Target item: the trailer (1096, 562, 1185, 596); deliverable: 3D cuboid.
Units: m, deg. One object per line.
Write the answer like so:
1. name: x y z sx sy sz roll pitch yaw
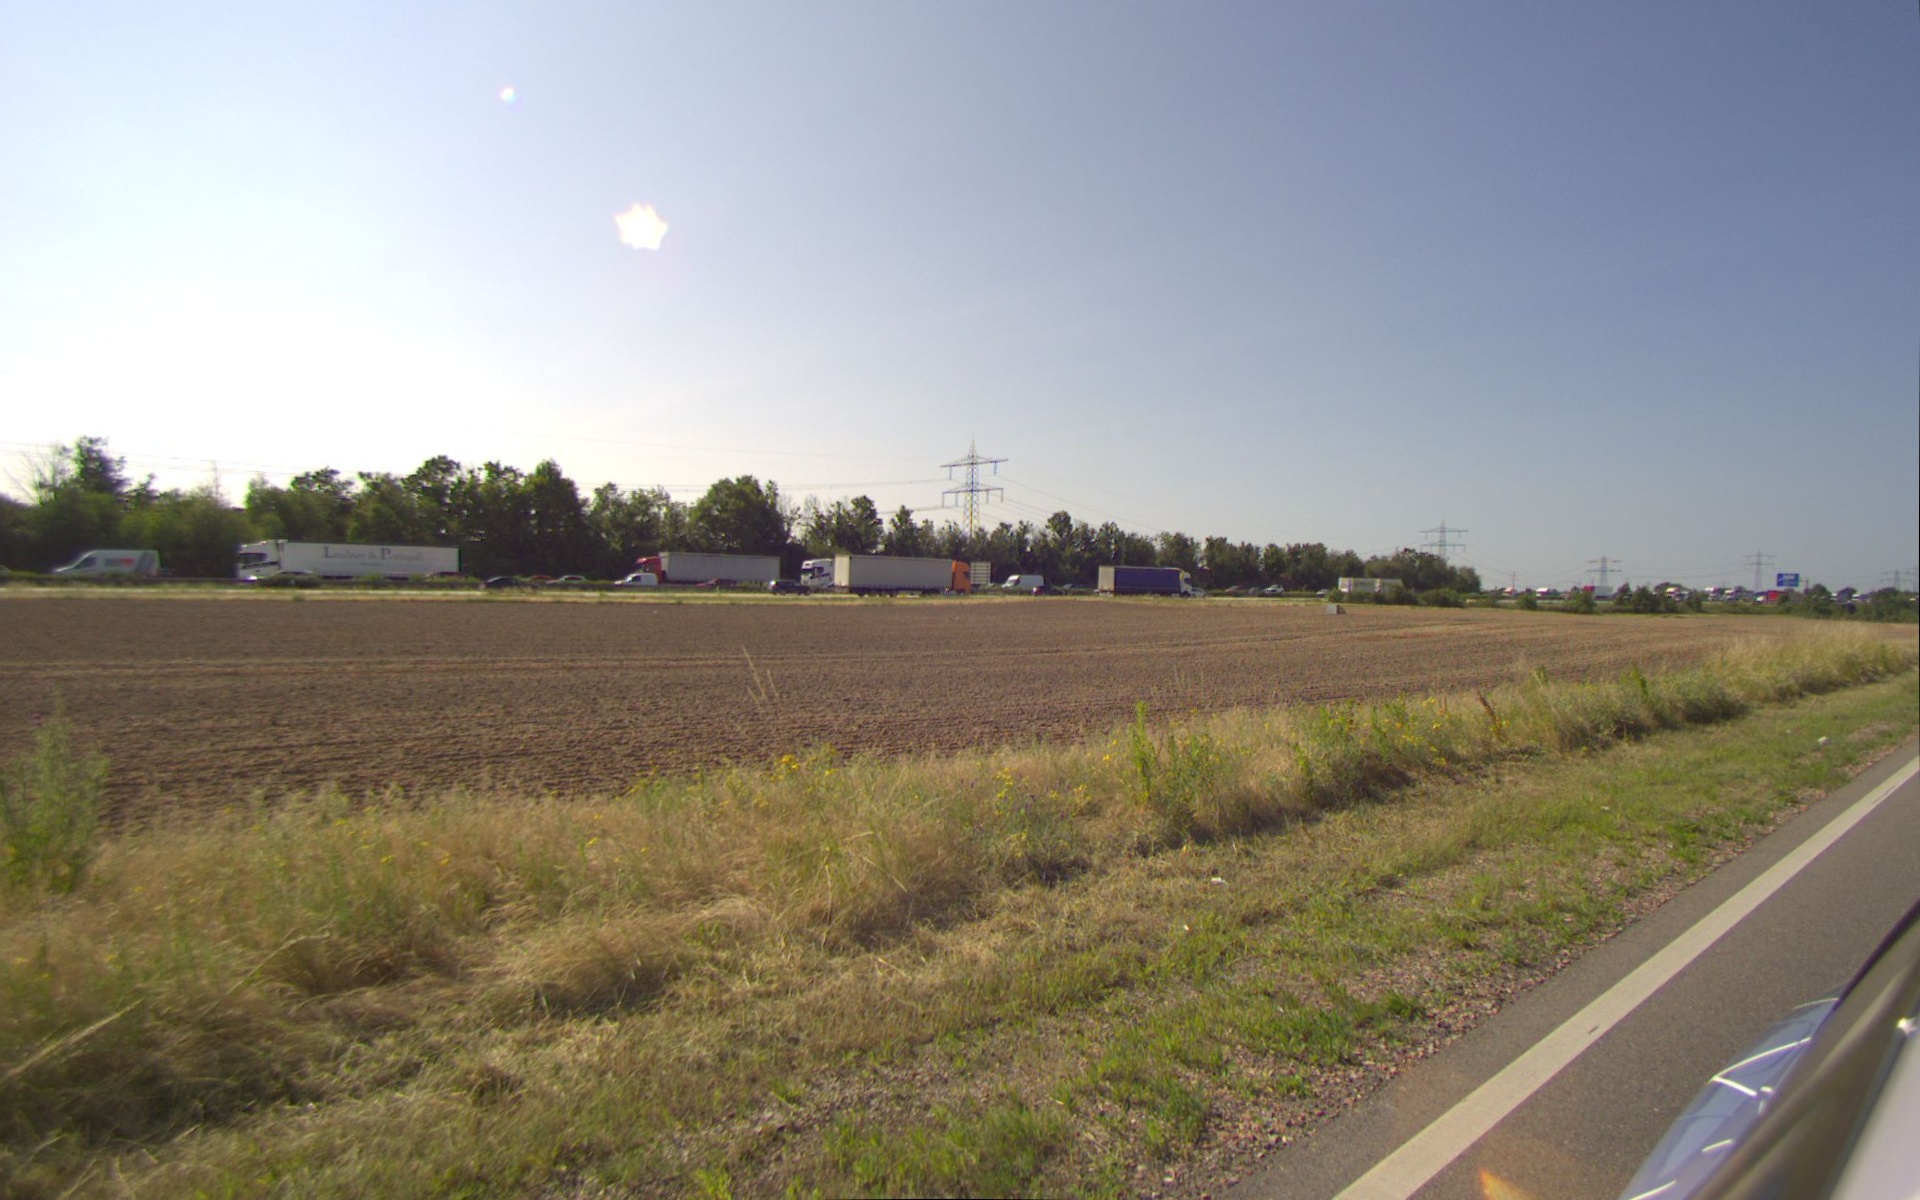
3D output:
1. trailer: 23.164 -2.560 129.109 14.341 3.850 3.076 1 0 -42

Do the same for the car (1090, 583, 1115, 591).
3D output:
1. car: 19.960 -1.787 142.027 3.794 1.139 1.343 0 0 -41

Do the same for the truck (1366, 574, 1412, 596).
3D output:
1. truck: 73.115 -2.508 172.440 10.927 3.521 2.810 0 1 -41

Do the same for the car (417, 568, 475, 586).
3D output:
1. car: -44.692 -1.953 88.020 4.173 1.403 1.853 1 -1 -41

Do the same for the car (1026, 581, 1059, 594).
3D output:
1. car: 10.123 -1.500 123.817 3.825 1.595 1.997 0 -1 -40

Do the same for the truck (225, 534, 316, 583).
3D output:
1. truck: -57.209 -3.375 84.011 6.008 3.780 3.078 0 0 -40

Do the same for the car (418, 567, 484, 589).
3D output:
1. car: -38.134 -1.624 75.906 4.123 1.563 1.706 0 -1 -41

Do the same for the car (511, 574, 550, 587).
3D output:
1. car: -41.719 -1.900 98.261 3.235 1.234 1.342 0 -1 -42

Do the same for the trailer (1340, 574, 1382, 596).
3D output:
1. trailer: 65.856 -2.424 166.010 8.566 3.458 2.798 0 1 -41

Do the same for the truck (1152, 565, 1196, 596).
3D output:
1. truck: 28.311 -2.536 133.799 5.515 3.851 3.076 1 0 -42

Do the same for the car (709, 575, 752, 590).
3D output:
1. car: -23.753 -1.816 104.918 4.022 1.528 1.706 0 -1 -41

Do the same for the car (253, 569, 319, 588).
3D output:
1. car: -53.418 -1.690 80.205 4.173 1.403 1.853 1 -1 -41

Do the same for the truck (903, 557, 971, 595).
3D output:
1. truck: -2.385 -2.530 108.096 6.828 3.898 3.109 0 0 -41

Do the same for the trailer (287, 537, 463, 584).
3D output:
1. trailer: -51.224 -3.361 89.058 13.127 3.780 3.078 0 1 -40

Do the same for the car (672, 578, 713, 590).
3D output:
1. car: -26.972 -1.639 101.957 3.666 1.162 1.669 0 0 -41

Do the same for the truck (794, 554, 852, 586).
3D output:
1. truck: -16.183 -3.582 119.600 6.002 3.575 3.209 0 2 -41

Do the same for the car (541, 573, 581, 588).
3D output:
1. car: -37.002 -1.819 93.828 3.236 1.300 1.342 0 -1 -43

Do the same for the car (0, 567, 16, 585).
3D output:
1. car: -65.609 -1.629 67.996 3.126 1.166 1.397 1 -1 -41

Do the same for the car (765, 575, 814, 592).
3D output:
1. car: -16.891 -1.592 100.348 4.392 1.633 1.910 0 -1 -39

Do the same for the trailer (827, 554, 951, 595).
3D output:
1. trailer: -7.110 -2.551 104.018 13.477 3.898 3.109 0 0 -41

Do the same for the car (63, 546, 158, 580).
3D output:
1. car: -60.864 -2.606 72.595 5.146 2.228 1.908 1 -1 -41

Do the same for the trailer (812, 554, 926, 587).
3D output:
1. trailer: -10.996 -3.561 124.153 14.820 3.575 3.208 0 2 -41

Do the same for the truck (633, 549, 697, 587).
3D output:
1. truck: -31.148 -3.321 106.912 5.766 3.780 2.951 0 0 -41

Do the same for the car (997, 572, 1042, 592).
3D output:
1. car: 7.887 -2.349 133.926 6.299 2.478 2.041 0 0 -40

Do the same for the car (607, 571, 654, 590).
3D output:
1. car: -31.887 -1.869 97.946 4.023 1.659 1.705 0 -1 -41

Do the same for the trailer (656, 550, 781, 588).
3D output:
1. trailer: -26.331 -3.320 111.097 13.540 3.780 2.951 0 0 -41
